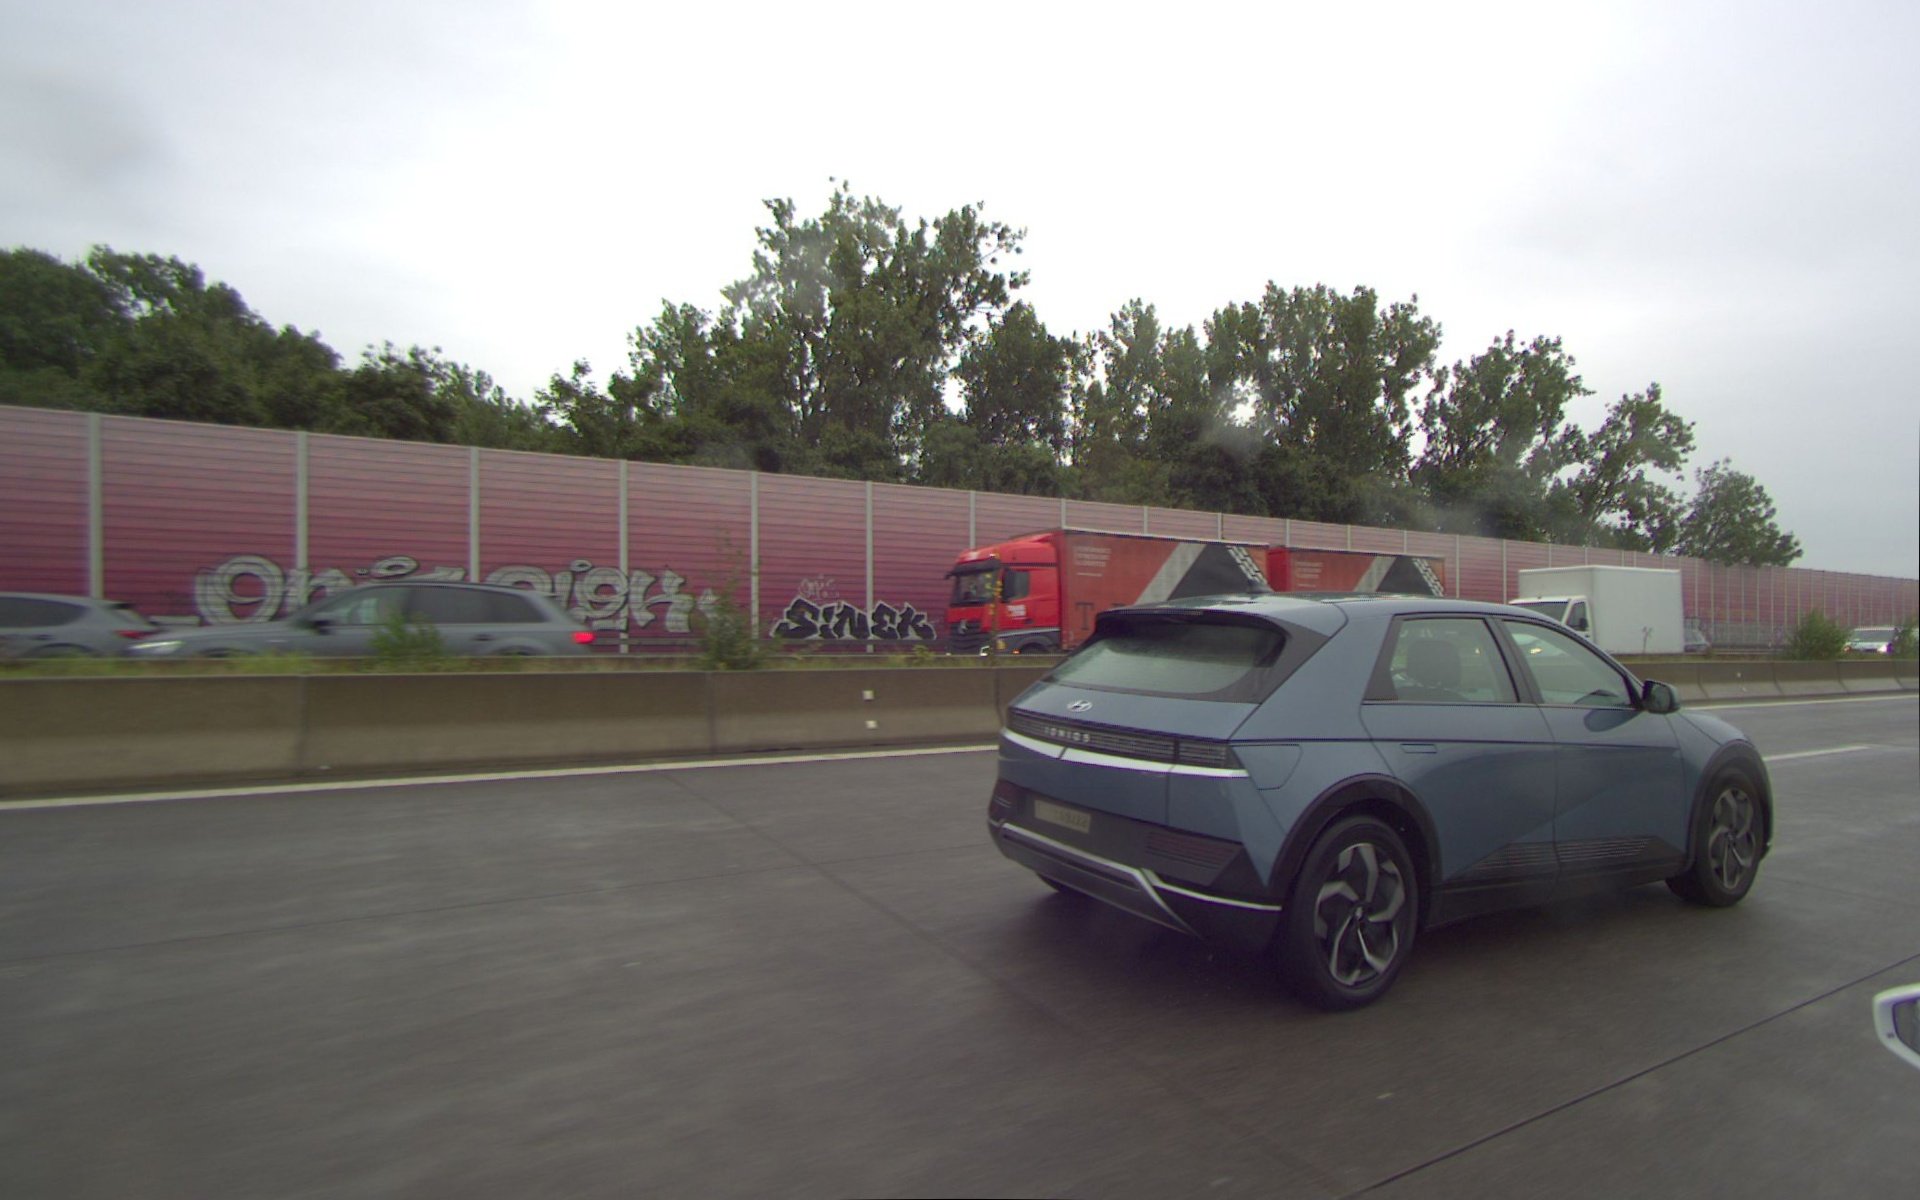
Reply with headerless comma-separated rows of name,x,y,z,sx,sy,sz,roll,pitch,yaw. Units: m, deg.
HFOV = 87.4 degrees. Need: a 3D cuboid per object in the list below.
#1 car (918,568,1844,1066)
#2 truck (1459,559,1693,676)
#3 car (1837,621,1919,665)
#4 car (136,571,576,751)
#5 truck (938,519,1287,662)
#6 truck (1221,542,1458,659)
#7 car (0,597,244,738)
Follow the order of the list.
car,2.460,0.764,5.343,5.095,1.615,1.830,2,0,-30
truck,16.860,0.474,27.341,7.194,2.866,2.255,1,1,-30
car,42.670,1.943,46.283,5.482,1.884,1.982,1,-1,-33
car,-7.248,0.689,12.513,4.338,1.884,1.984,1,-1,-30
truck,4.620,-0.127,28.780,10.494,3.537,2.767,1,-1,-30
truck,12.817,0.105,33.630,8.394,3.537,2.767,1,-1,-30
car,-13.115,0.913,14.463,4.338,1.884,1.984,1,-1,-30
